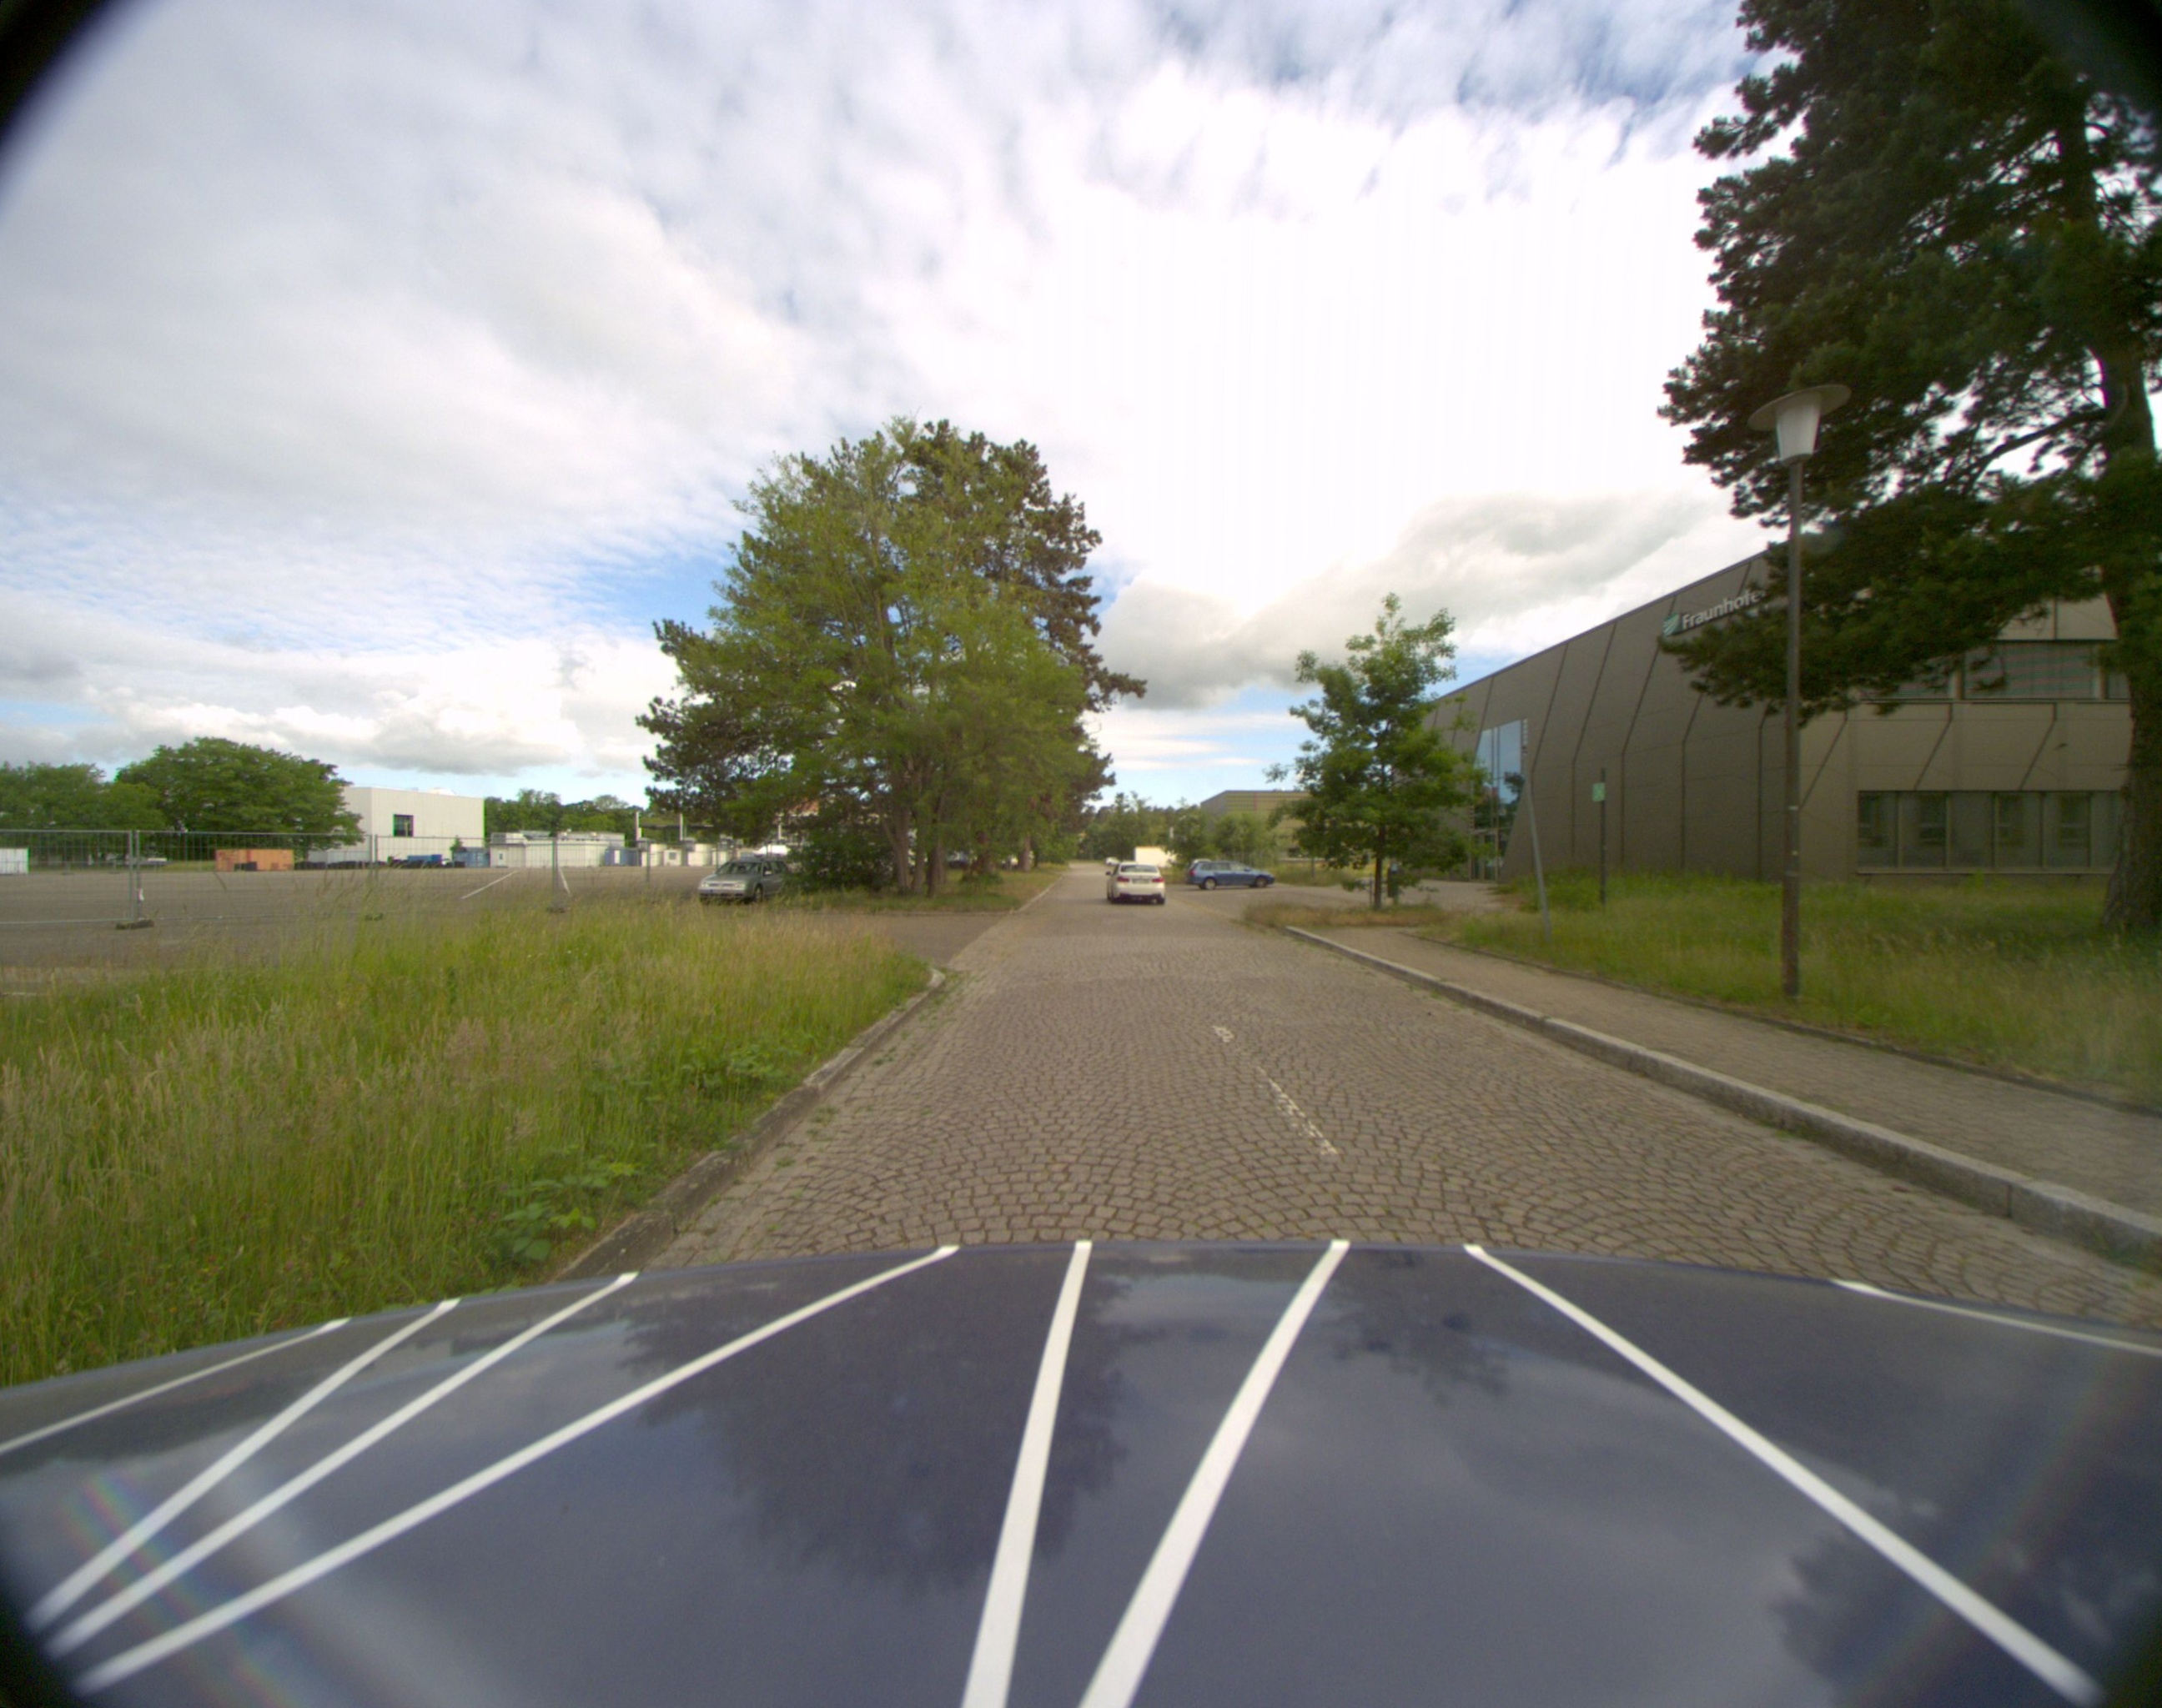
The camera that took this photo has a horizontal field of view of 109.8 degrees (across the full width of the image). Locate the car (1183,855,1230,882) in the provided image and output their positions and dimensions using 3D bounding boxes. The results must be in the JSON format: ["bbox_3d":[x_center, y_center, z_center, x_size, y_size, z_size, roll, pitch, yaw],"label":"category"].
[{"bbox_3d":[7.738,0.899,46.882,2.584,1.521,1.500,-2,1,-2],"label":"car"}]

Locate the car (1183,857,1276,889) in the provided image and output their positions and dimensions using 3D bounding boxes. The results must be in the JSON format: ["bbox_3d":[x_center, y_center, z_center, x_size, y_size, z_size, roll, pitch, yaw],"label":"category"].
[{"bbox_3d":[7.681,0.953,39.513,4.427,1.461,1.633,-2,1,-2],"label":"car"}]

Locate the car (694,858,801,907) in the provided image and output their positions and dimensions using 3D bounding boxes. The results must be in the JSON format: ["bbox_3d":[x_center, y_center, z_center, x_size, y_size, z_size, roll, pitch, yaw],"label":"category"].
[{"bbox_3d":[-10.871,0.870,25.151,1.678,1.442,4.488,0,0,-2],"label":"car"}]

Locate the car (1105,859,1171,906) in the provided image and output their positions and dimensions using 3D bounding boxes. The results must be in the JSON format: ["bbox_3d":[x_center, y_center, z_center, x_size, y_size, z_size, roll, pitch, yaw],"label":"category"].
[{"bbox_3d":[1.938,0.947,26.874,1.778,1.430,4.217,3,0,-2],"label":"car"}]

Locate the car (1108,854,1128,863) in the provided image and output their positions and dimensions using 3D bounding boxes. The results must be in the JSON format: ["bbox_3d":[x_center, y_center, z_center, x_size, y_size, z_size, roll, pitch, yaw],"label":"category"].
[{"bbox_3d":[7.718,0.958,159.321,4.062,1.767,1.792,-1,1,0],"label":"car"}]
